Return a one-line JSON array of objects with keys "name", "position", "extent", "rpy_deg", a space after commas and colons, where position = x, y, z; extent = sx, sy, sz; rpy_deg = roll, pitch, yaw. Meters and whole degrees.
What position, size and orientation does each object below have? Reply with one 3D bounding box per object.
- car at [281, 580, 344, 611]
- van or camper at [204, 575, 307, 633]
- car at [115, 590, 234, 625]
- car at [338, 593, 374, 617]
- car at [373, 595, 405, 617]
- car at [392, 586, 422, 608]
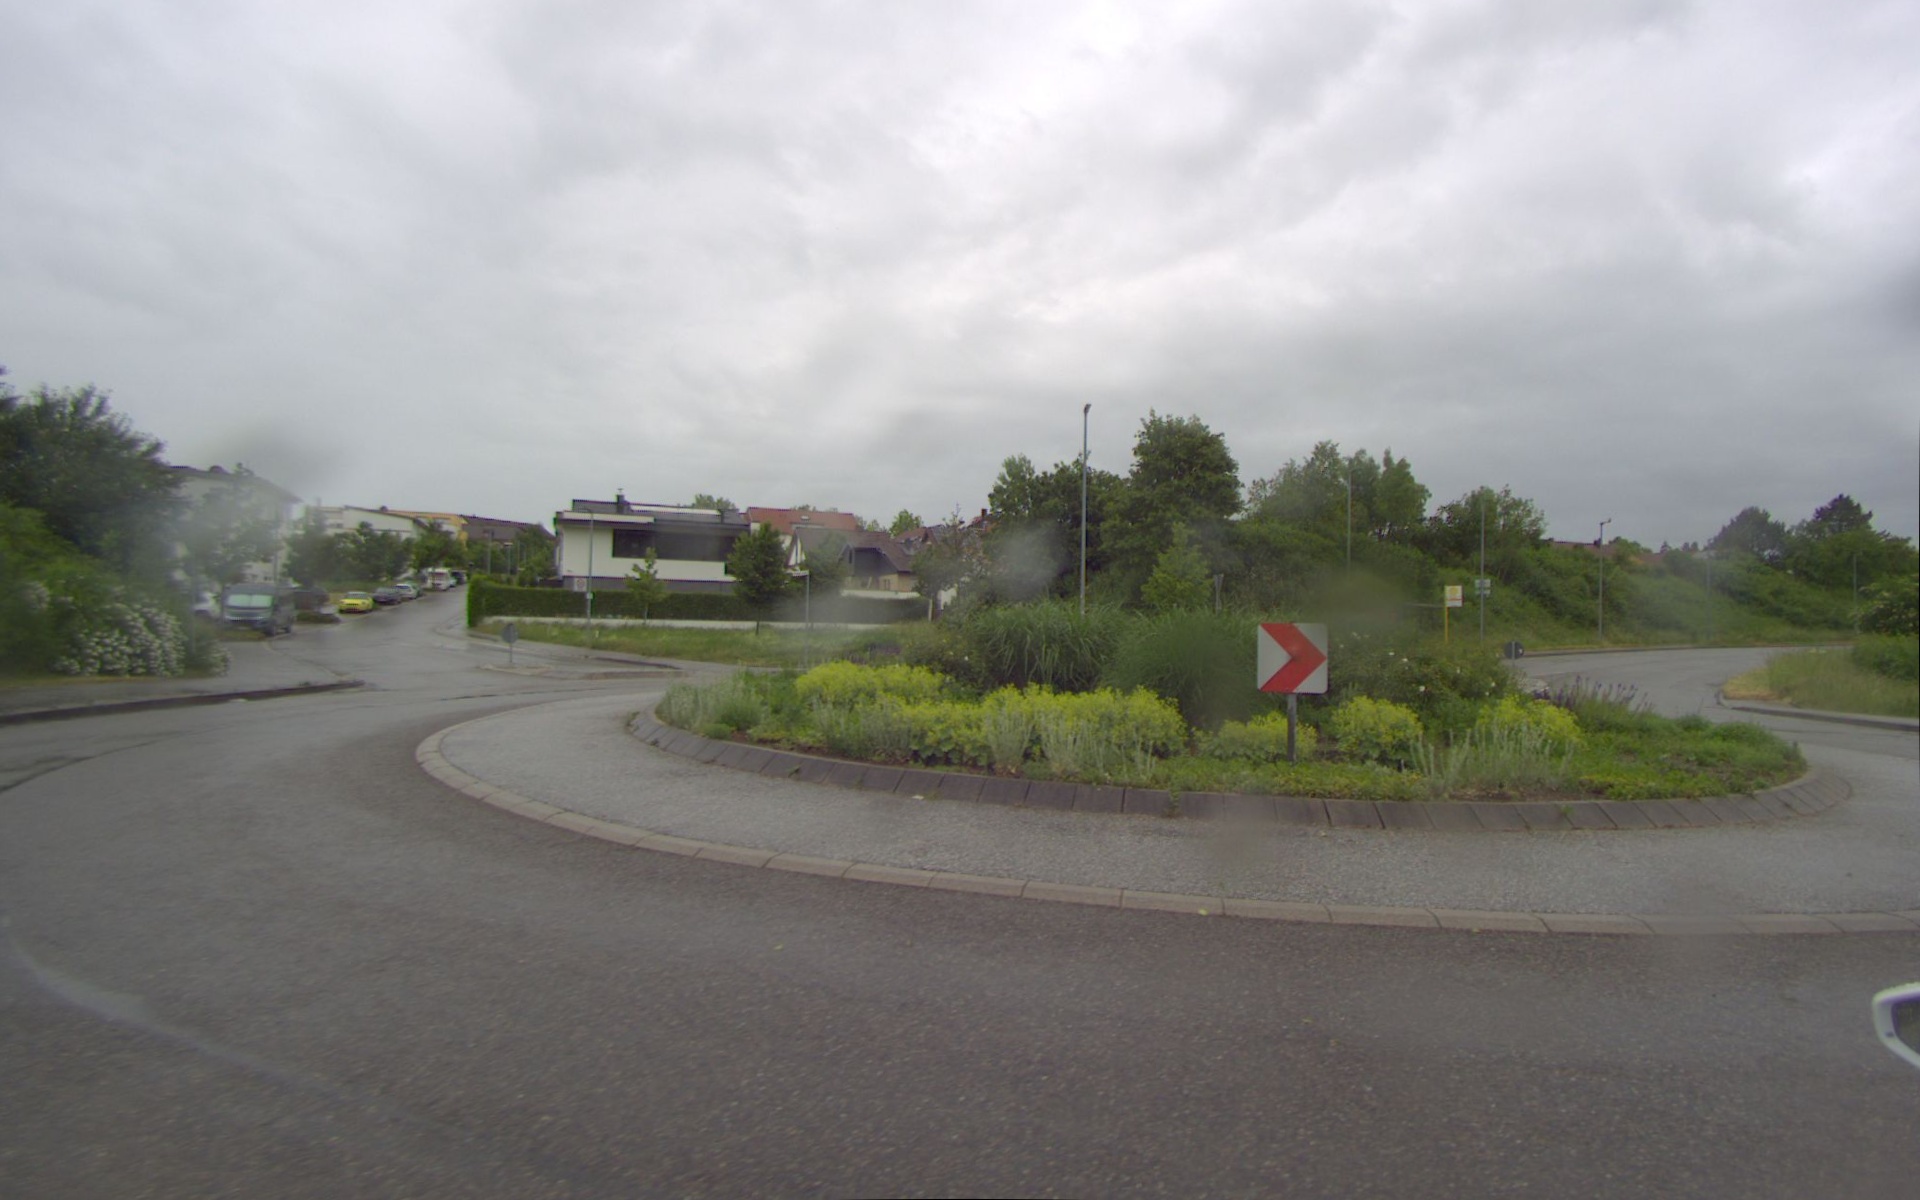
[{"name": "car", "position": [-47.149, -0.274, 73.272], "extent": [3.673, 2.040, 1.742], "rpy_deg": [3, -2, -30]}, {"name": "van or camper", "position": [-33.827, 0.195, 48.499], "extent": [2.494, 2.526, 6.178], "rpy_deg": [2, -1, -20]}, {"name": "car", "position": [-41.862, 0.406, 53.684], "extent": [4.607, 1.771, 2.009], "rpy_deg": [1, -1, -25]}, {"name": "car", "position": [-43.729, 0.378, 72.795], "extent": [1.662, 1.679, 3.556], "rpy_deg": [2, -1, -23]}, {"name": "car", "position": [-48.349, 0.504, 85.112], "extent": [1.850, 1.757, 3.976], "rpy_deg": [2, -1, -24]}, {"name": "car", "position": [-52.562, -0.284, 95.526], "extent": [1.972, 2.040, 3.977], "rpy_deg": [2, -1, -23]}]
